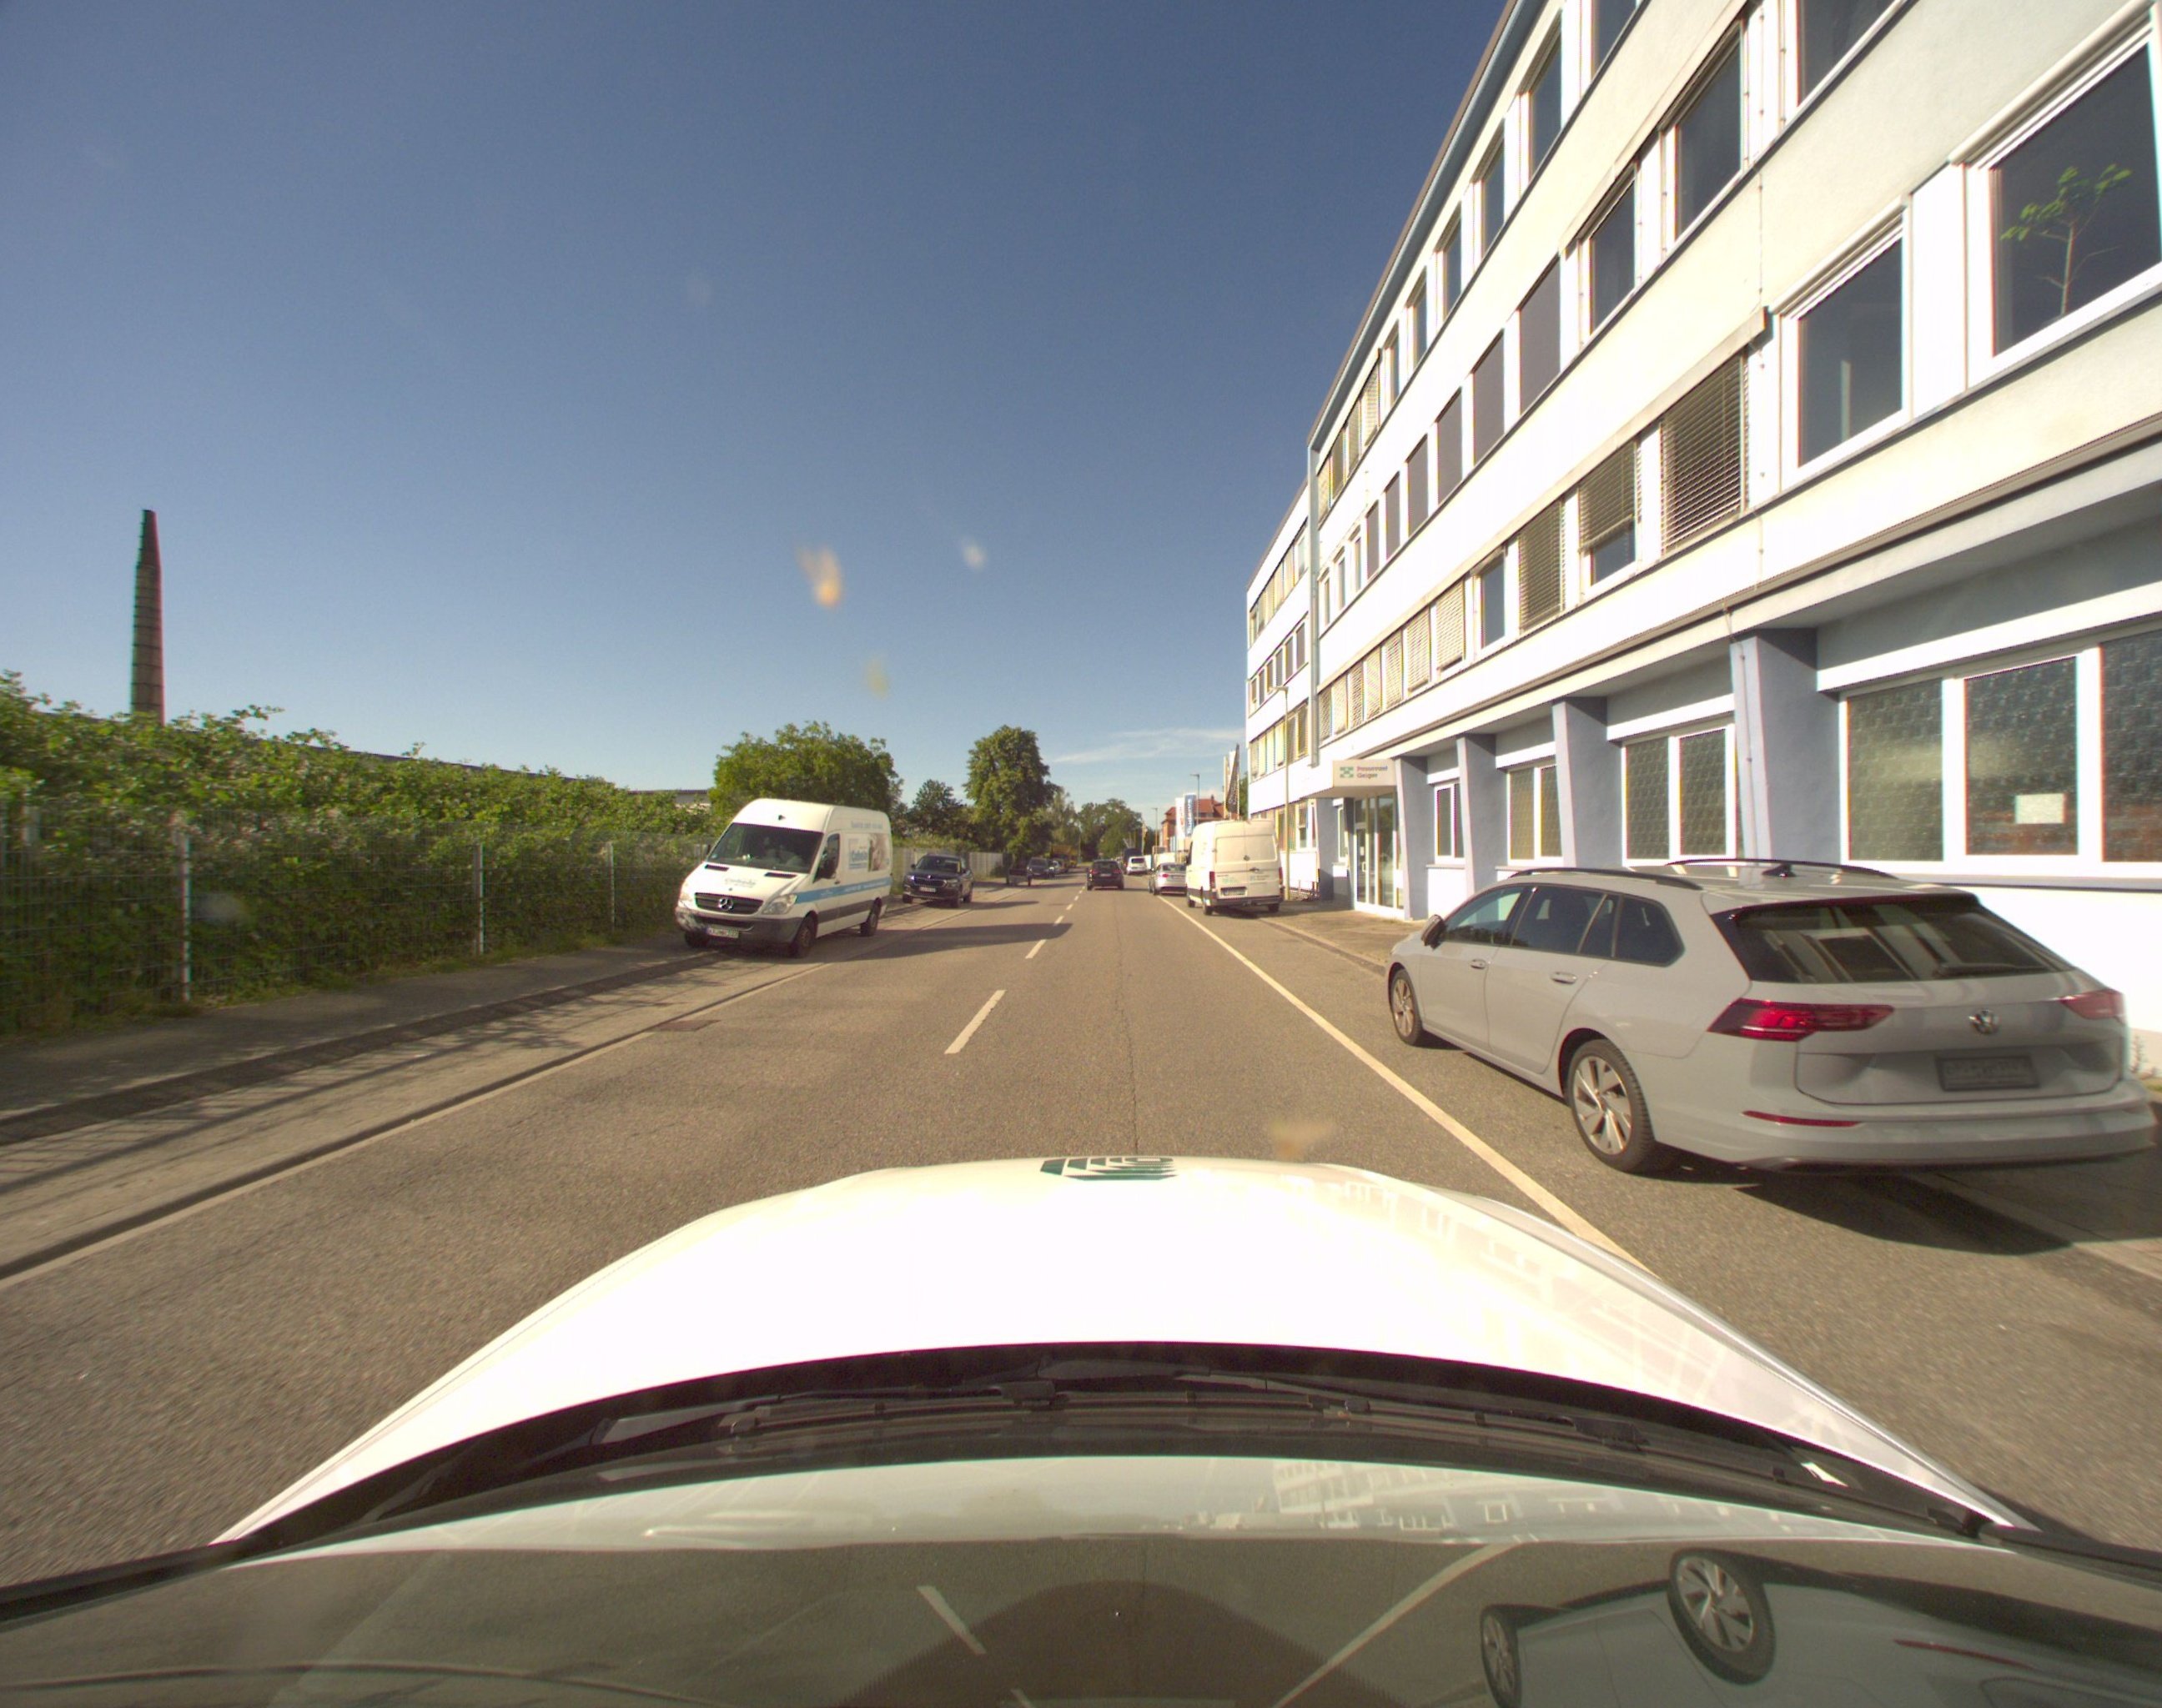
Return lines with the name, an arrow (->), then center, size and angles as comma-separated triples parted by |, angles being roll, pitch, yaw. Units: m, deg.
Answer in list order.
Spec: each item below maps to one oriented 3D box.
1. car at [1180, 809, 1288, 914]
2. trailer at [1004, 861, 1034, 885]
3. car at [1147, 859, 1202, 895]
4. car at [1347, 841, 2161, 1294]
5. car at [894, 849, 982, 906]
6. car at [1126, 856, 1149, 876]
car -> 4.263, 0.149, 23.721 | 1.987, 2.597, 6.051 | -2, 1, 1
trailer -> -3.733, 1.142, 49.511 | 1.471, 1.354, 3.079 | 1, -1, 2
car -> 3.940, 0.944, 35.072 | 1.887, 1.405, 5.125 | 1, -1, 1
car -> 3.482, 0.757, 5.371 | 1.883, 1.560, 5.091 | 0, 0, 1
car -> -4.822, 0.746, 28.297 | 2.023, 1.694, 5.106 | 4, 0, 0
car -> 5.474, 1.162, 79.414 | 1.879, 1.798, 5.104 | 1, -1, 1
